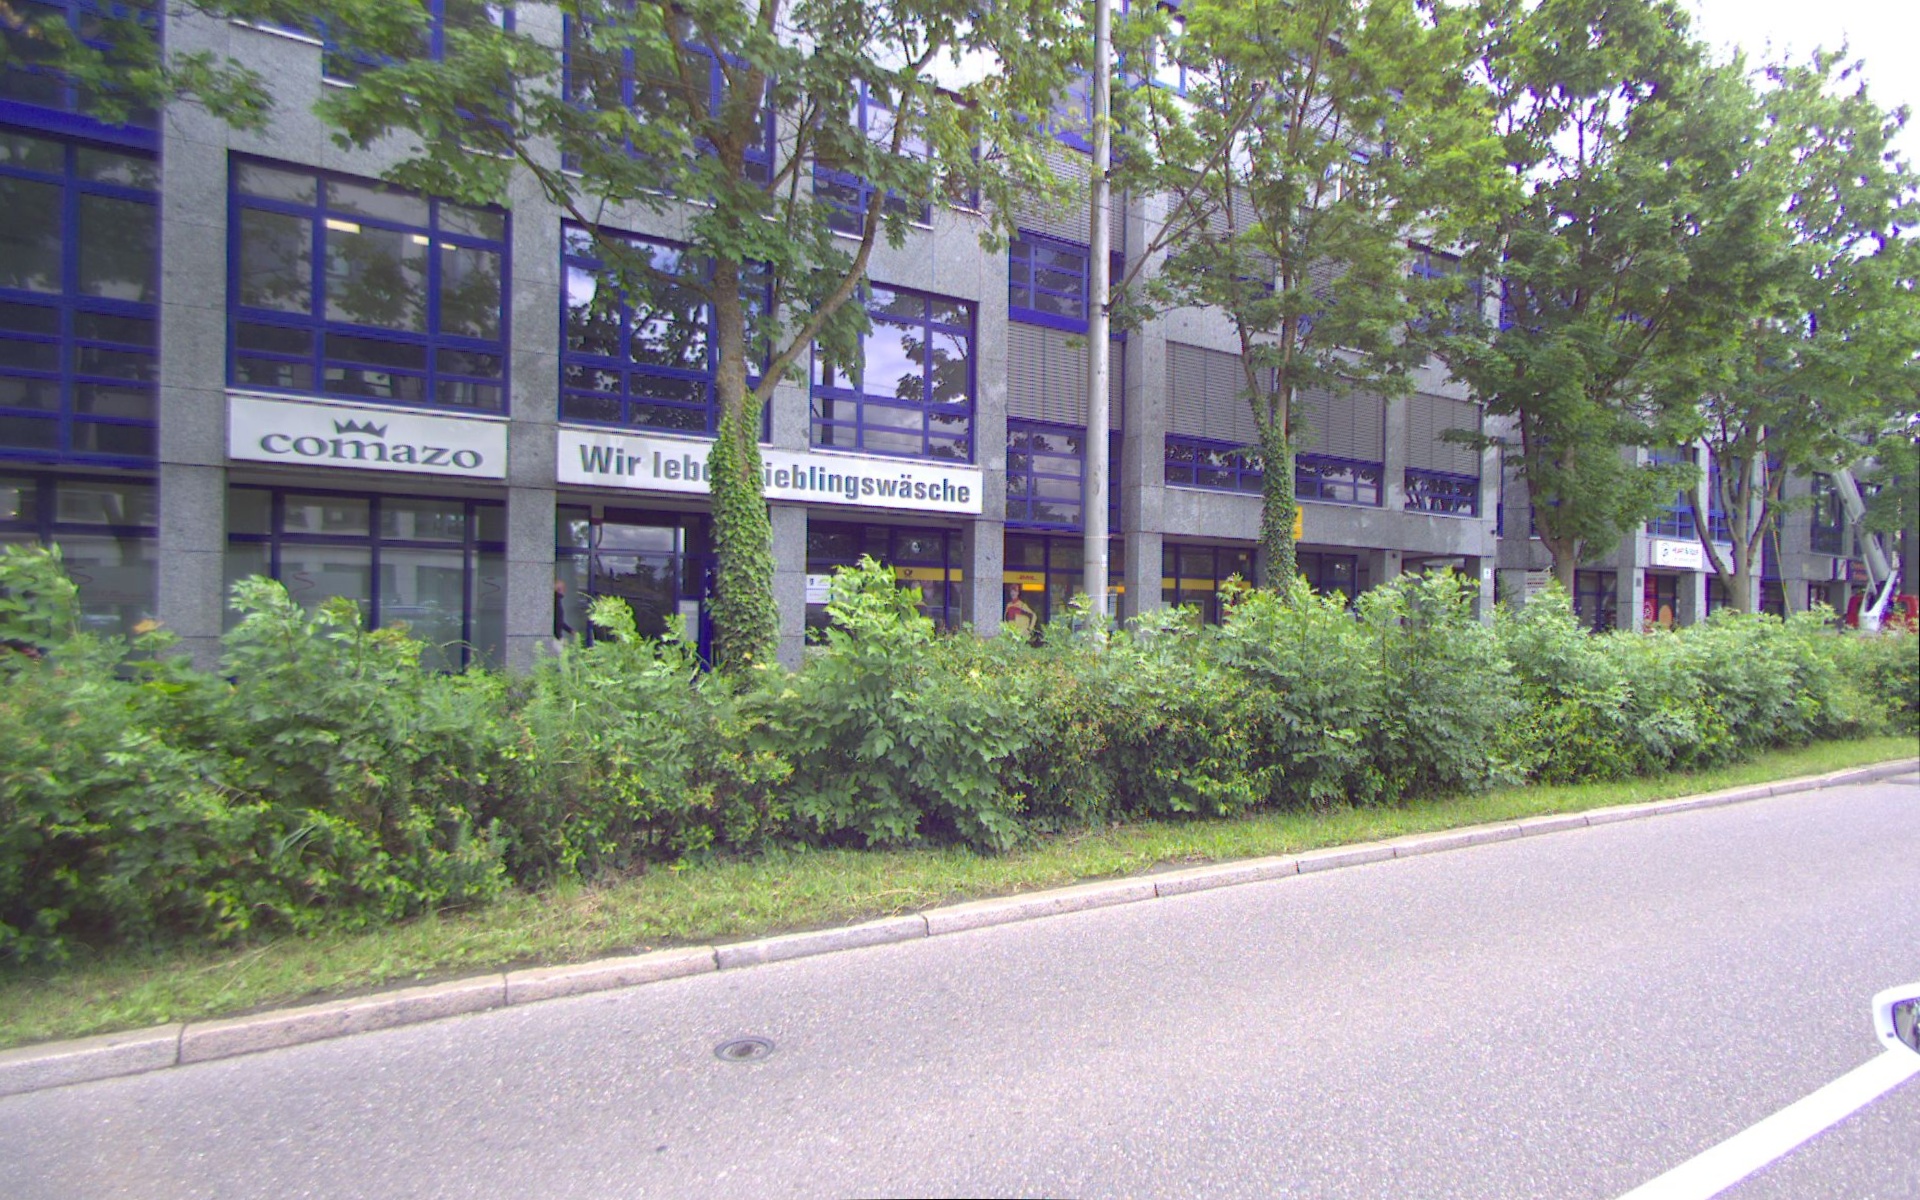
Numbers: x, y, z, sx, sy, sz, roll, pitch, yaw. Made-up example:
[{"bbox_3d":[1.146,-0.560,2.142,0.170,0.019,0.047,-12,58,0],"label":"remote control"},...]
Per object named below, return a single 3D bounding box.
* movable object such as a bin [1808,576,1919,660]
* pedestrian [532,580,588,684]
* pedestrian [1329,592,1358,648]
[{"bbox_3d":[29.566,0.564,32.566,4.079,2.565,1.895,1,1,-31],"label":"movable object such as a bin"},{"bbox_3d":[-6.016,0.463,15.098,0.671,1.502,0.694,1,1,-30],"label":"pedestrian"},{"bbox_3d":[9.460,0.498,24.761,0.552,1.352,0.362,0,3,-35],"label":"pedestrian"}]
